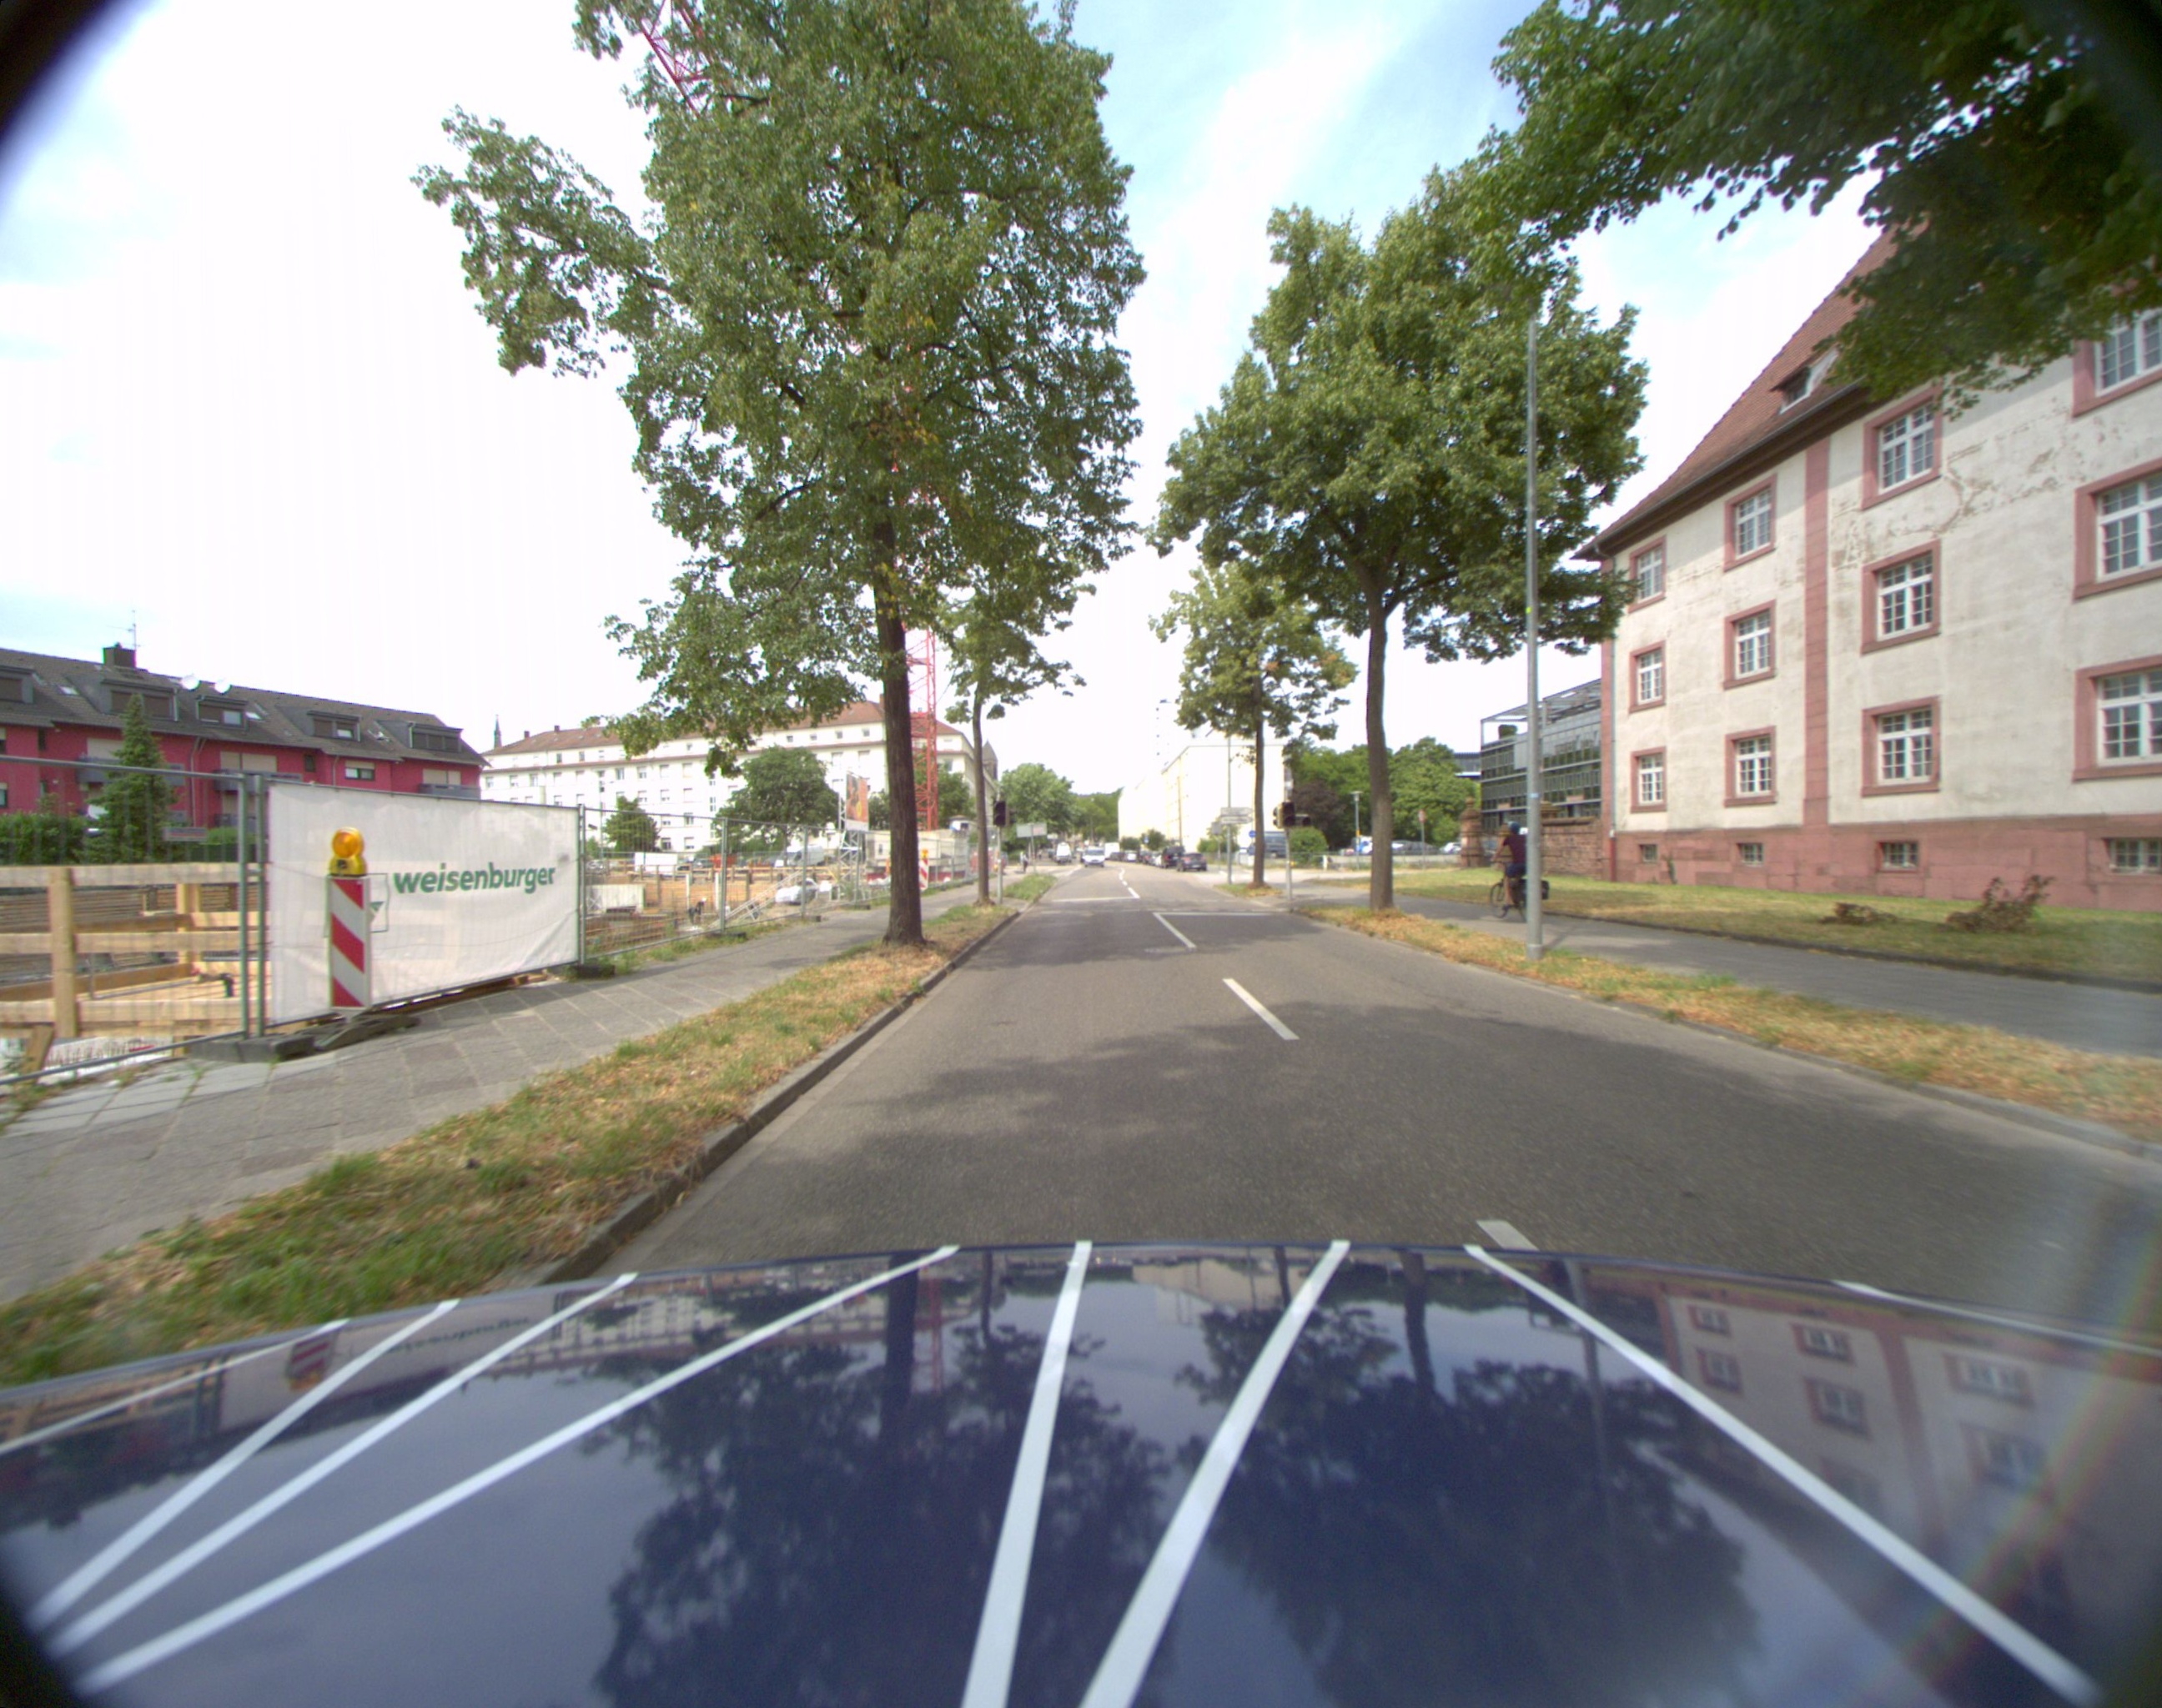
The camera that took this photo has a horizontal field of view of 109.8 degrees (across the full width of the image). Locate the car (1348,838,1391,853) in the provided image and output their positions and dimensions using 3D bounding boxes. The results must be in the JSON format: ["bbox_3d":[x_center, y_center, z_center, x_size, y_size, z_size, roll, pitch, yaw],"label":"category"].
[{"bbox_3d":[31.698,-0.940,83.642,3.997,1.474,1.857,-1,1,0],"label":"car"}]

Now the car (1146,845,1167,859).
[{"bbox_3d":[7.777,-0.196,78.623,1.692,1.448,4.262,-1,0,-2],"label":"car"}]

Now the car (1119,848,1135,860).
[{"bbox_3d":[6.478,-0.057,106.572,1.722,1.615,3.837,-1,1,-4],"label":"car"}]

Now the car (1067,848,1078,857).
[{"bbox_3d":[-1.575,-0.380,144.038,1.949,1.656,3.998,0,1,-2],"label":"car"}]

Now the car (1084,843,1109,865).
[{"bbox_3d":[1.414,-0.037,69.398,1.999,2.002,3.998,0,1,-2],"label":"car"}]

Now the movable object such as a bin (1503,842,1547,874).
[{"bbox_3d":[20.948,0.178,35.909,1.204,1.459,1.570,-1,1,2],"label":"movable object such as a bin"}]

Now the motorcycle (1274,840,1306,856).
[{"bbox_3d":[14.866,-0.437,54.193,2.095,1.135,0.725,1,1,5],"label":"motorcycle"}]

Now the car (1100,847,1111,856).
[{"bbox_3d":[4.593,-0.519,142.282,1.853,1.623,4.216,0,1,-2],"label":"car"}]

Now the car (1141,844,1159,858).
[{"bbox_3d":[7.647,-0.344,84.442,1.691,1.462,4.048,-2,1,0],"label":"car"}]

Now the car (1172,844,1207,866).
[{"bbox_3d":[8.121,0.062,57.111,1.827,1.464,4.296,-3,0,-1],"label":"car"}]

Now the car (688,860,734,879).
[{"bbox_3d":[-37.570,1.568,77.230,1.796,1.580,3.923,-3,1,21],"label":"car"}]

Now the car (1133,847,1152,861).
[{"bbox_3d":[7.296,0.015,90.031,1.626,1.566,3.998,-1,1,-4],"label":"car"}]

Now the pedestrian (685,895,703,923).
[{"bbox_3d":[-24.881,3.525,48.879,0.842,1.712,0.722,2,2,38],"label":"pedestrian"}]

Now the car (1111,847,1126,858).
[{"bbox_3d":[5.654,-0.184,114.481,1.722,1.615,3.837,-1,1,-4],"label":"car"}]

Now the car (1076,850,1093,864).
[{"bbox_3d":[0.456,0.359,96.123,1.999,1.656,3.998,0,1,-2],"label":"car"}]

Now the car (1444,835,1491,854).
[{"bbox_3d":[43.046,-1.034,84.673,4.228,2.124,1.971,0,1,-1],"label":"car"}]

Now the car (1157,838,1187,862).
[{"bbox_3d":[8.013,-0.325,67.487,1.953,1.992,4.843,-2,0,0],"label":"car"}]

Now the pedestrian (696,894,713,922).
[{"bbox_3d":[-24.609,3.516,49.640,0.842,1.712,0.722,2,2,38],"label":"pedestrian"}]

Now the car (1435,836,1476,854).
[{"bbox_3d":[43.357,-1.054,88.039,3.721,2.002,1.972,0,1,5],"label":"car"}]

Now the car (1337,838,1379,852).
[{"bbox_3d":[31.467,-0.985,86.441,3.997,1.474,1.982,-1,1,0],"label":"car"}]

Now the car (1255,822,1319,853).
[{"bbox_3d":[19.264,-1.554,71.250,5.324,2.537,2.354,-3,1,2],"label":"car"}]

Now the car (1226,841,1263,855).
[{"bbox_3d":[19.118,-0.707,89.067,3.995,1.474,2.000,-1,1,6],"label":"car"}]

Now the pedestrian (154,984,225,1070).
[{"bbox_3d":[-19.928,3.846,16.991,0.843,1.712,0.721,1,1,17],"label":"pedestrian"}]

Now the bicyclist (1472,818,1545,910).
[{"bbox_3d":[8.136,0.190,14.500,0.724,1.646,0.958,-5,1,1],"label":"bicyclist"}]

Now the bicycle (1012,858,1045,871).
[{"bbox_3d":[-3.969,0.787,57.387,2.473,0.927,0.716,-2,0,33],"label":"bicycle"}]

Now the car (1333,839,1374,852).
[{"bbox_3d":[31.842,-1.016,88.855,3.997,1.474,1.982,-1,1,0],"label":"car"}]

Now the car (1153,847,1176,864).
[{"bbox_3d":[7.999,0.133,72.917,1.658,1.520,3.764,-2,0,-2],"label":"car"}]

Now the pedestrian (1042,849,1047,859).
[{"bbox_3d":[-6.496,-0.061,134.557,0.808,1.793,0.763,0,1,-2],"label":"pedestrian"}]

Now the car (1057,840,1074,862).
[{"bbox_3d":[-1.952,-0.397,96.781,1.900,2.587,4.903,-4,1,-2],"label":"car"}]

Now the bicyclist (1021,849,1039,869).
[{"bbox_3d":[-3.874,0.375,57.317,1.078,1.404,0.716,-4,-1,33],"label":"bicyclist"}]

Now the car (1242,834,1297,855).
[{"bbox_3d":[18.957,-0.947,76.710,5.097,2.137,2.229,0,0,3],"label":"car"}]

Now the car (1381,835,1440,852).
[{"bbox_3d":[31.865,-0.999,73.577,4.703,1.654,2.330,0,1,2],"label":"car"}]

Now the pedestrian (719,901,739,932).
[{"bbox_3d":[-20.640,3.660,44.562,0.842,1.712,0.722,2,2,38],"label":"pedestrian"}]

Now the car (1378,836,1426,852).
[{"bbox_3d":[32.111,-0.992,76.104,4.166,1.474,1.616,-1,1,0],"label":"car"}]

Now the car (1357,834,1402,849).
[{"bbox_3d":[31.830,-1.301,81.041,3.997,1.474,1.969,-1,1,0],"label":"car"}]

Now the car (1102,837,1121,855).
[{"bbox_3d":[5.142,-1.348,130.239,2.622,3.040,7.112,0,0,-3],"label":"car"}]

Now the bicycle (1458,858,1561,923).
[{"bbox_3d":[8.191,0.661,14.656,0.724,1.089,2.151,-5,0,1],"label":"bicycle"}]

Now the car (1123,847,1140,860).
[{"bbox_3d":[6.671,-0.078,100.804,1.791,1.554,4.550,-3,0,-1],"label":"car"}]

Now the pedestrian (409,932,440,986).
[{"bbox_3d":[-22.911,3.655,26.525,0.842,1.712,0.722,2,2,43],"label":"pedestrian"}]
